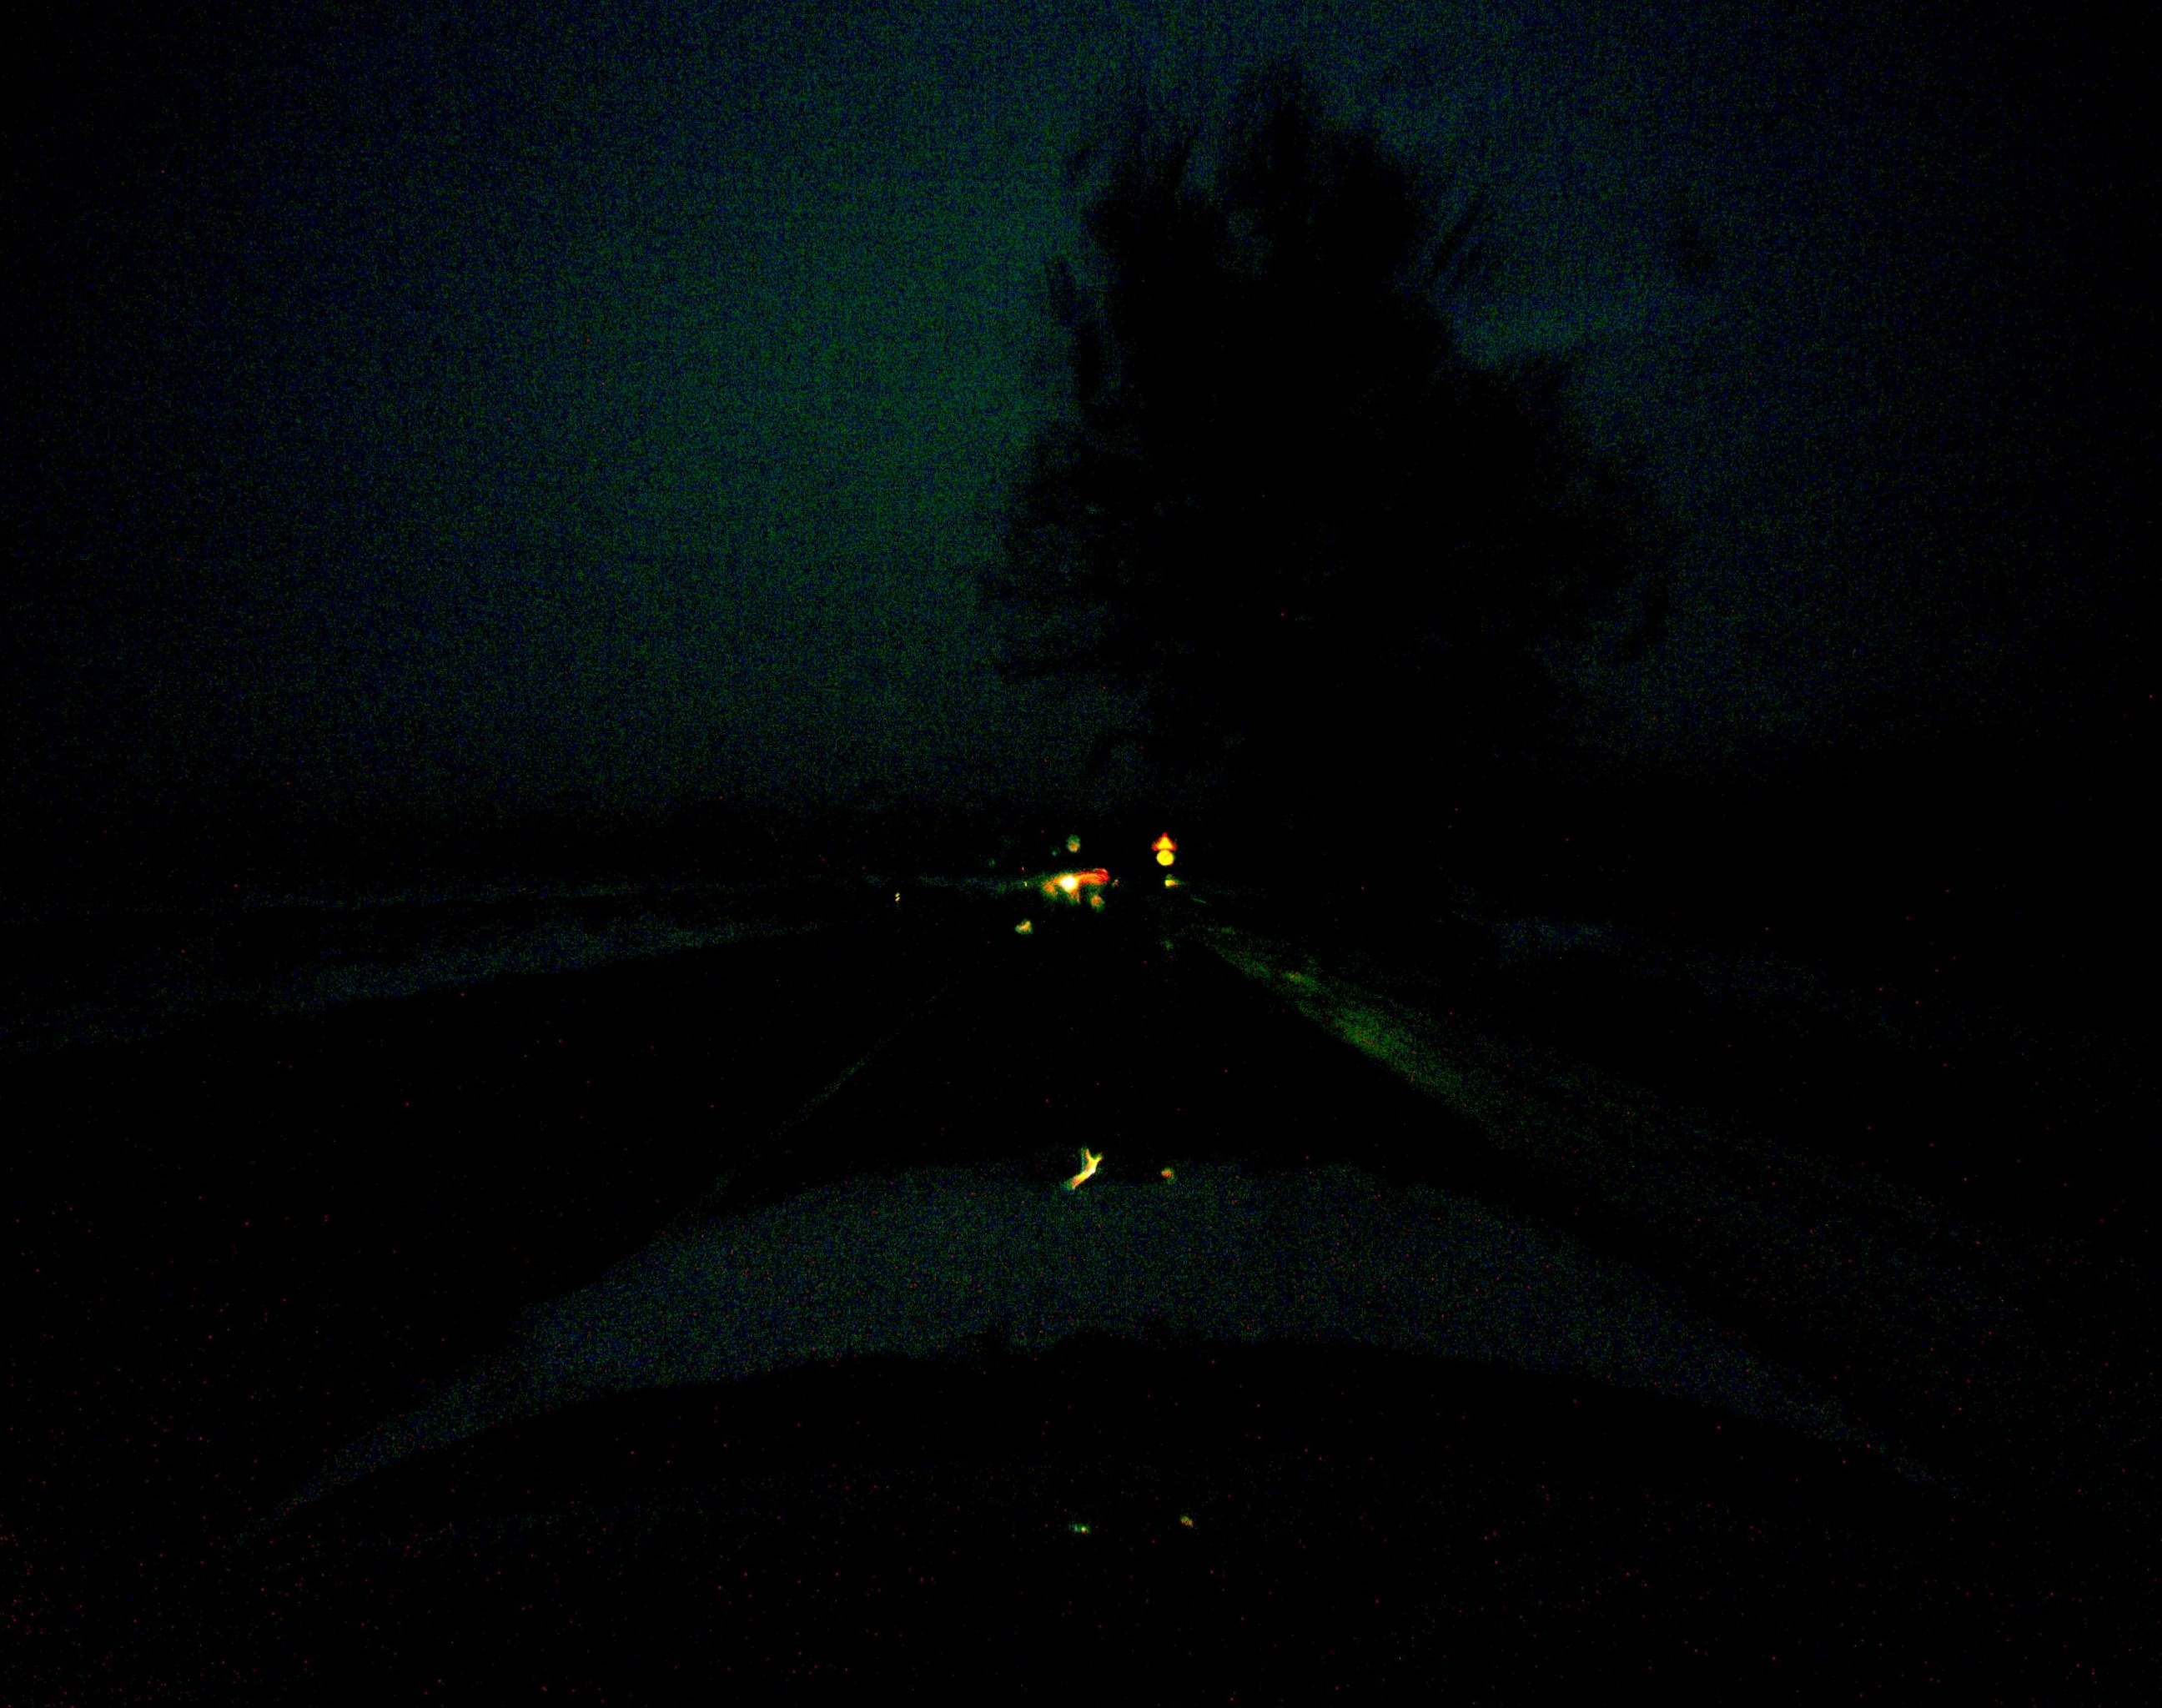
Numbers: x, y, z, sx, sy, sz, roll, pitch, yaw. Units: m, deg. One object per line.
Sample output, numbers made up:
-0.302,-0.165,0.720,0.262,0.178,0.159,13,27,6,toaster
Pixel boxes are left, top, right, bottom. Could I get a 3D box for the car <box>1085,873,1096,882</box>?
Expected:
1.800,4.348,153.870,1.685,1.552,3.860,-1,0,4,car
